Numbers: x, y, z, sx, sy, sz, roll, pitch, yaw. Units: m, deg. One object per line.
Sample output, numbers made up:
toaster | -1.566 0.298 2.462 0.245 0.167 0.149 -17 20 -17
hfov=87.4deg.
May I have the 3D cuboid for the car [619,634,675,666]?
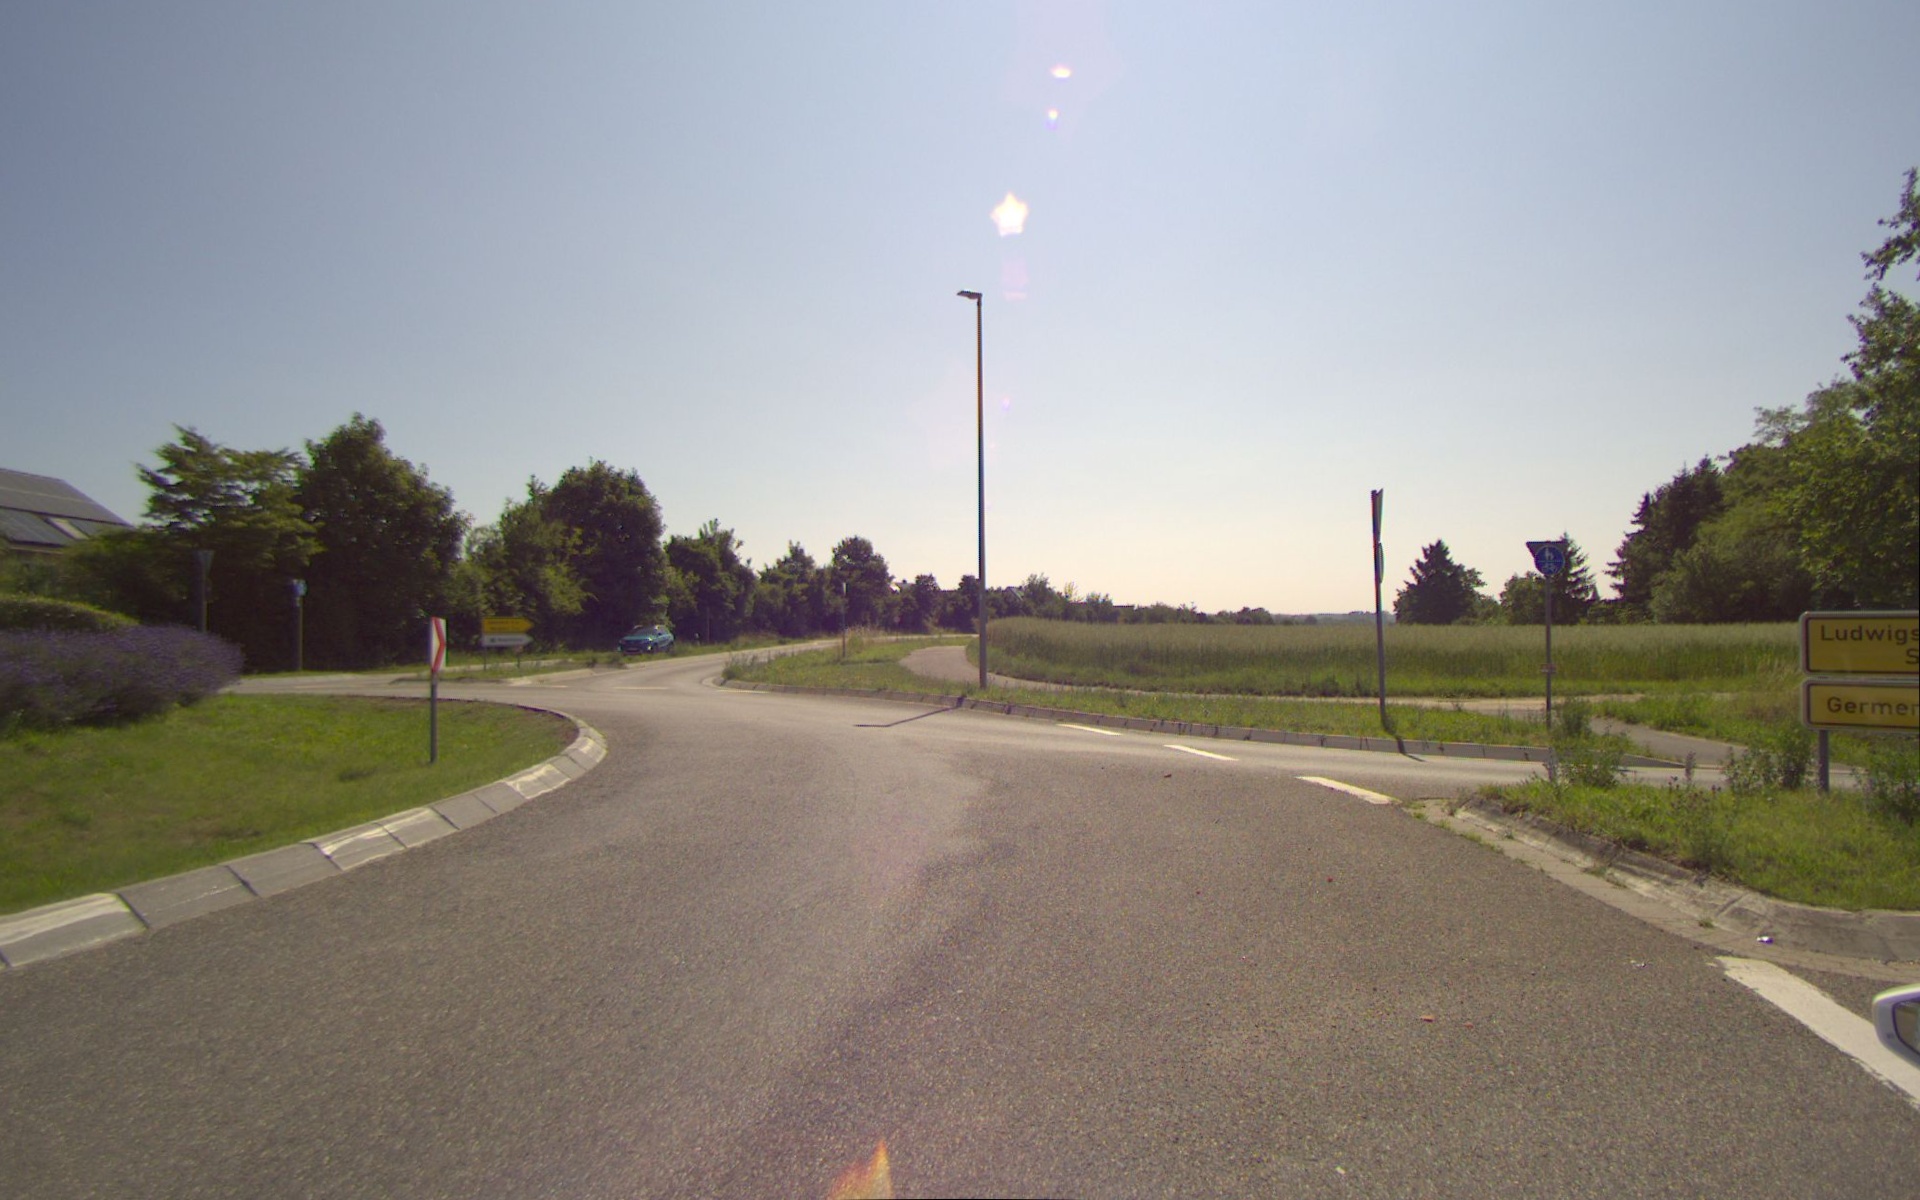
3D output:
car | -16.192 2.586 52.131 1.616 1.597 4.001 0 -2 1
